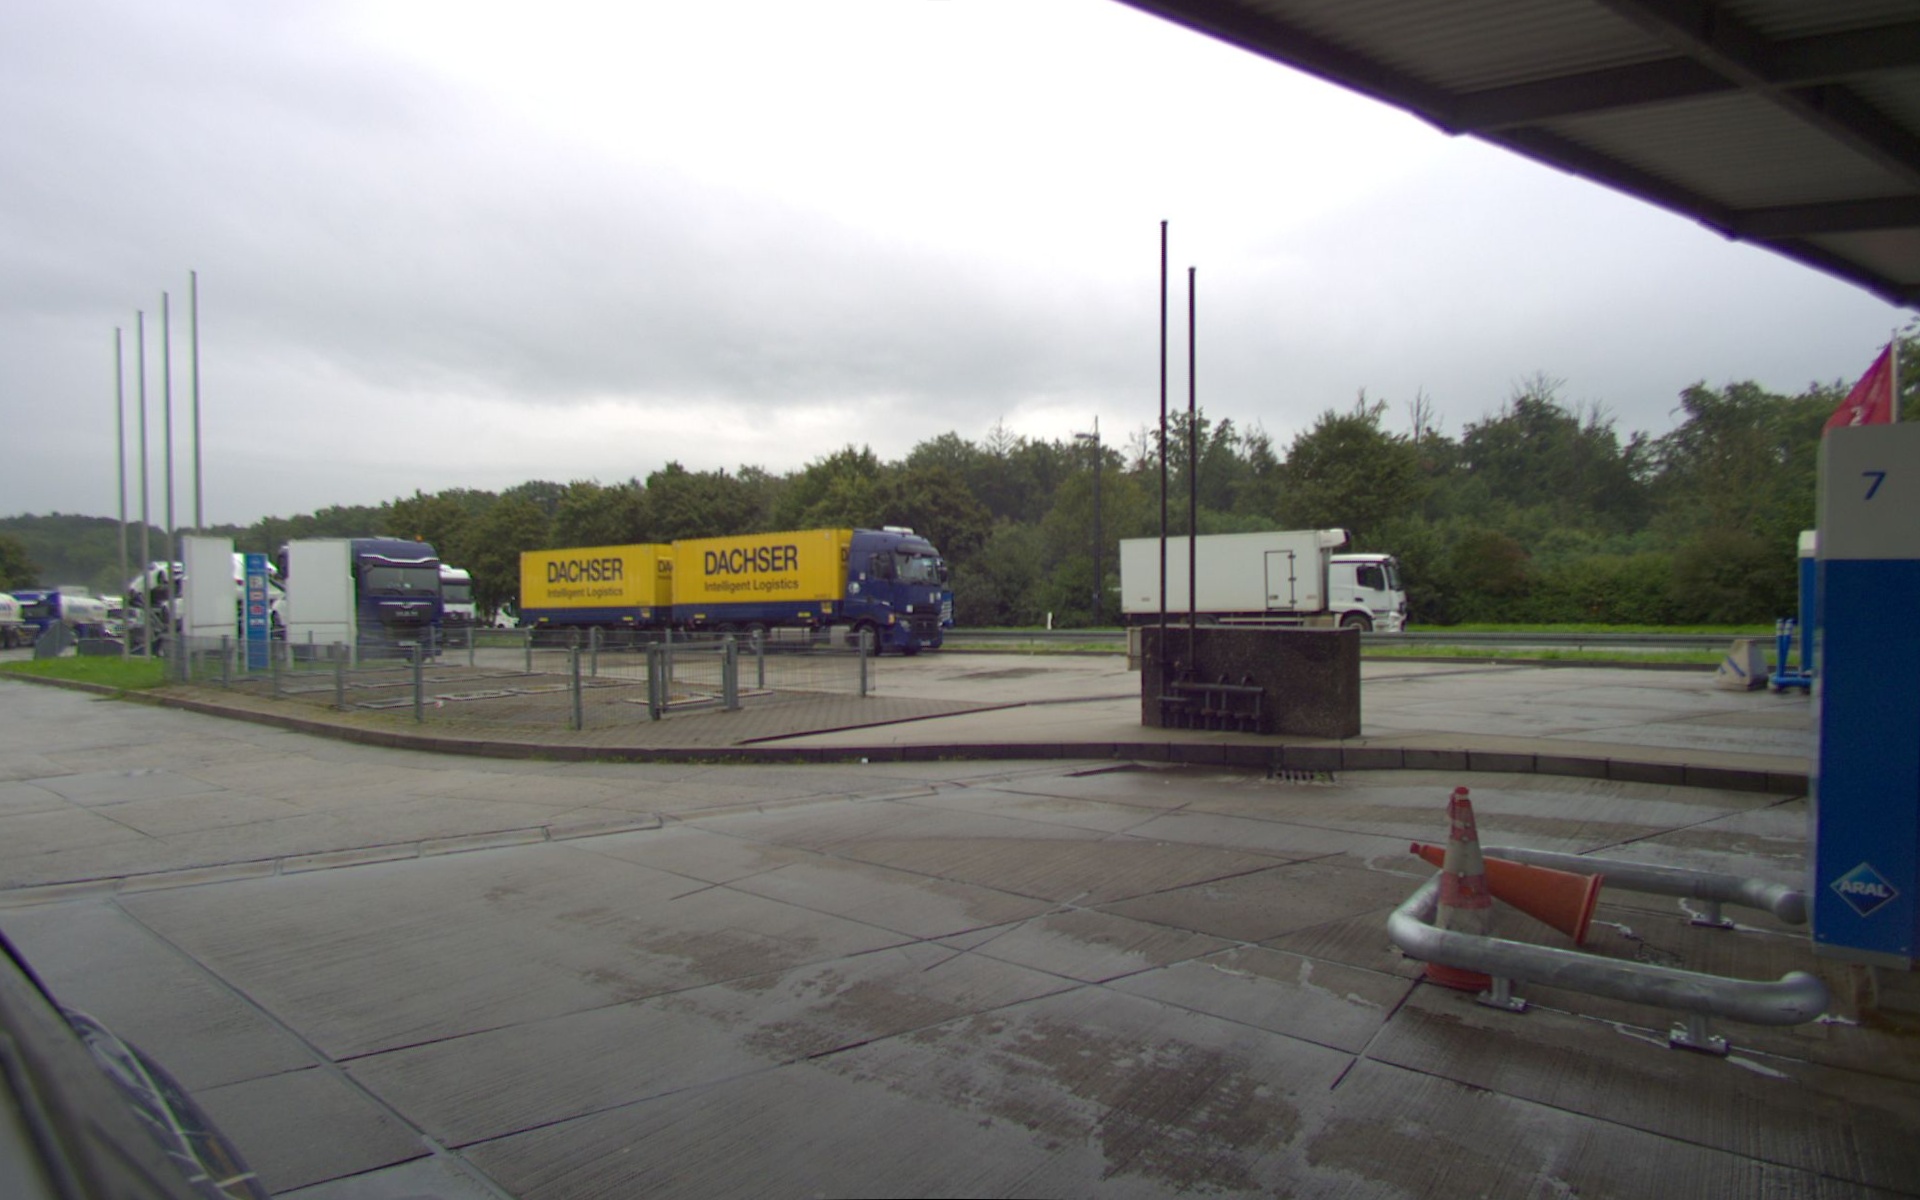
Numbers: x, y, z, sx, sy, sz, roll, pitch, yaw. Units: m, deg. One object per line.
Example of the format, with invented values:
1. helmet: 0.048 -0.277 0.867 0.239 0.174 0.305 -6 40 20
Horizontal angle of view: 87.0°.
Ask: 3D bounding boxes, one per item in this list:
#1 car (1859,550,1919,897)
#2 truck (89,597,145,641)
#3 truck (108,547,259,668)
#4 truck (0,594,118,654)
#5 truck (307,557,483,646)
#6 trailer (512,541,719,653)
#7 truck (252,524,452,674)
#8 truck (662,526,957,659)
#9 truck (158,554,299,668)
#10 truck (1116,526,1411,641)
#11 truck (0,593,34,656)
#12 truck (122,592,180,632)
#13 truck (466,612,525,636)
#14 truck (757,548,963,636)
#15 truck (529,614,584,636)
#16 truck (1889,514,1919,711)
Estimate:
1. car: 6.925 0.546 3.787 5.269 1.620 1.842 -1 0 41
2. truck: -84.639 1.846 101.532 11.525 4.160 3.101 -1 0 44
3. truck: -29.569 0.306 38.439 6.605 4.213 2.635 -1 0 35
4. truck: -61.471 1.631 68.652 3.454 3.633 14.709 -1 -1 -27
5. truck: -27.298 0.113 48.620 10.654 3.946 2.727 -1 0 33
6. trailer: -13.480 -0.065 39.248 8.679 3.946 2.728 -1 0 32
7. truck: -18.991 0.017 31.468 7.089 4.213 2.635 -1 0 35
8. truck: -5.318 -0.170 34.018 10.654 3.946 2.727 -1 0 33
9. truck: -26.088 0.402 36.065 4.738 3.800 2.635 -1 0 34
10. truck: 10.989 -0.507 37.435 10.195 3.836 2.395 -1 0 31
11. truck: -55.135 1.346 53.684 3.454 3.633 14.444 -1 -1 -19
12. truck: -108.688 1.653 135.838 11.498 5.160 3.109 -1 0 36
13. truck: -43.789 2.261 95.348 5.810 2.140 2.061 -1 0 31
14. truck: -4.858 -0.303 47.633 10.195 3.836 2.395 -1 0 31
15. truck: -41.246 2.527 103.366 5.810 2.140 2.061 -1 0 31
16. truck: 15.009 0.130 11.941 5.859 2.513 2.208 -1 0 41
